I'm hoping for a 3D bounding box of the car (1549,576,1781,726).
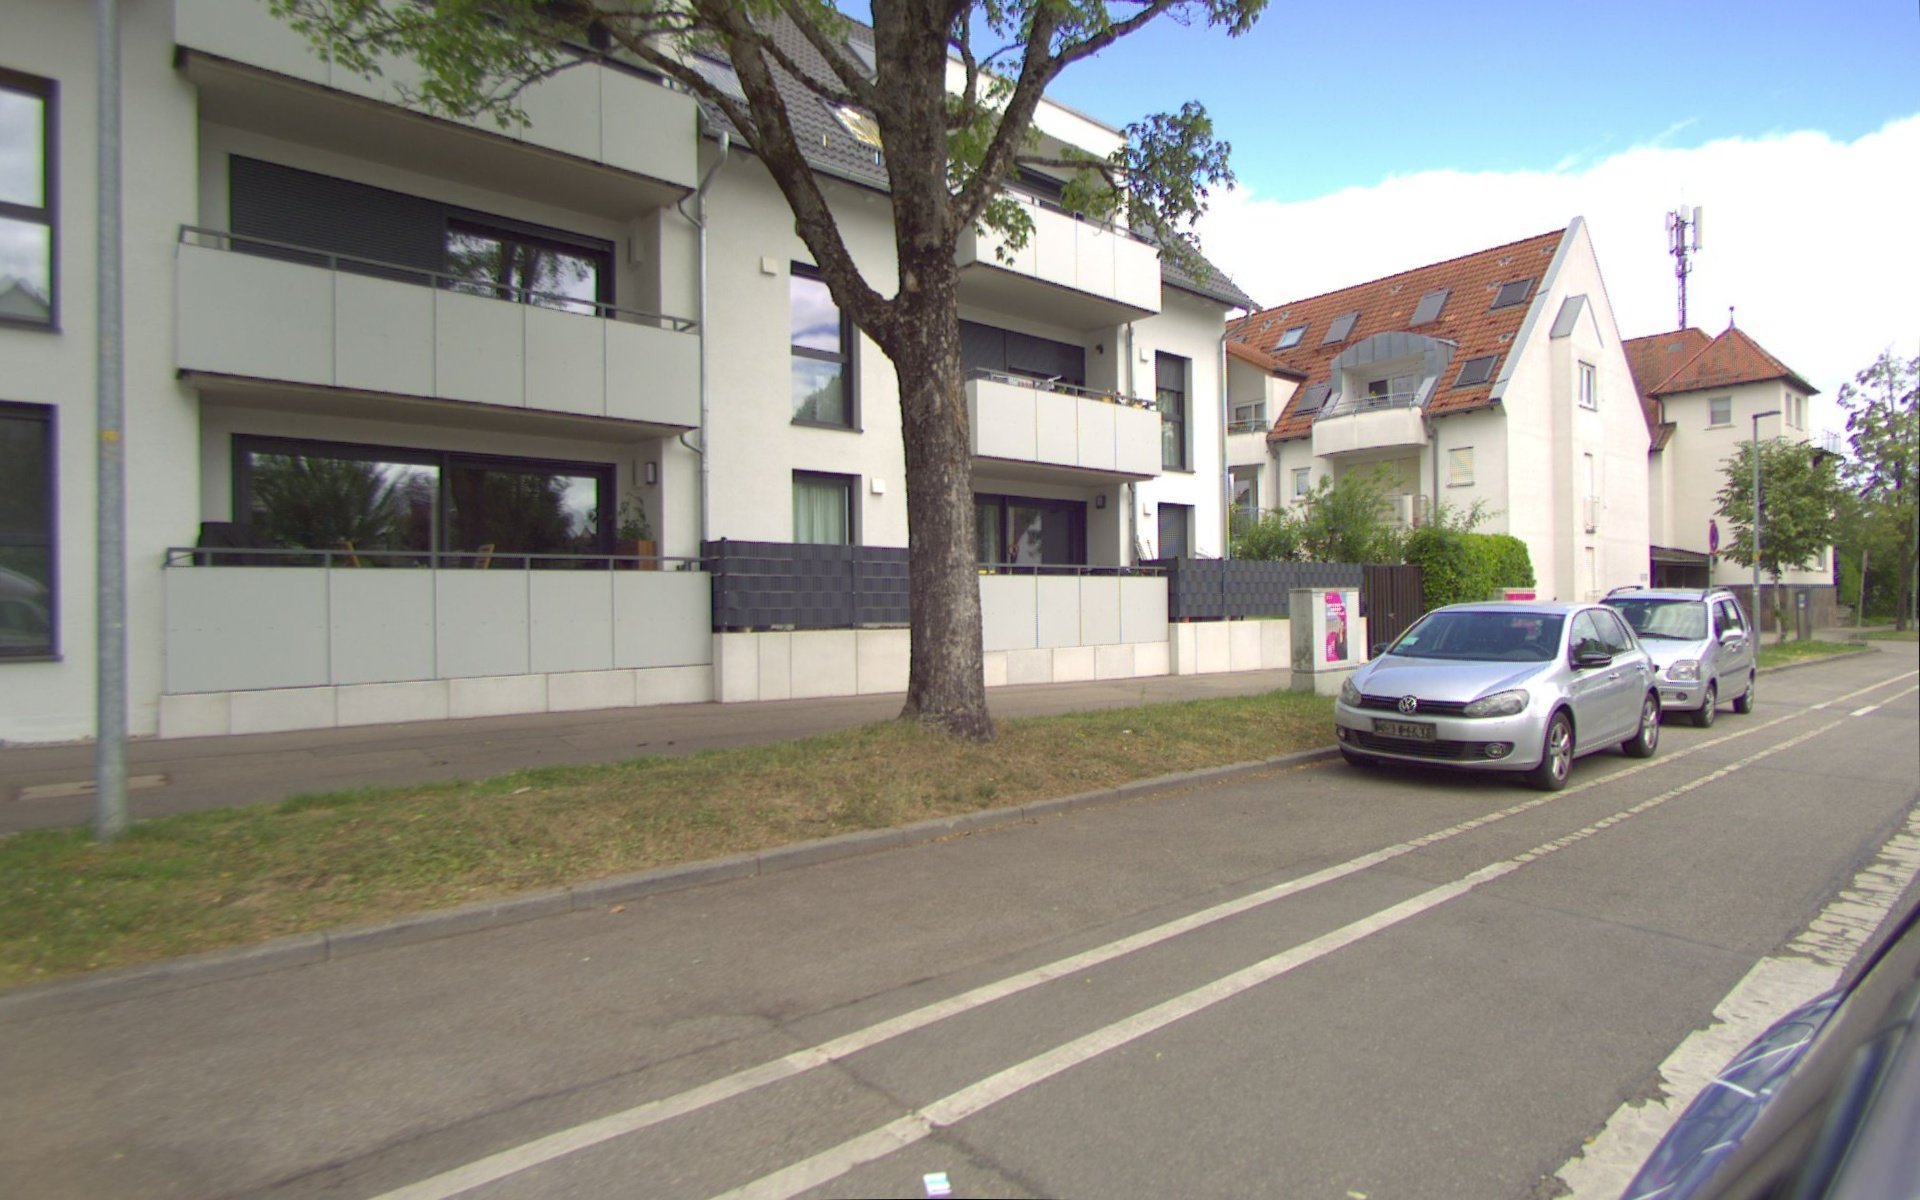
[{"bbox_3d":[9.233,0.561,13.158,3.583,1.686,1.635,0,0,-40],"label":"car"}]

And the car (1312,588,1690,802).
[{"bbox_3d":[5.063,0.662,9.217,4.153,1.512,1.690,0,1,-41],"label":"car"}]
